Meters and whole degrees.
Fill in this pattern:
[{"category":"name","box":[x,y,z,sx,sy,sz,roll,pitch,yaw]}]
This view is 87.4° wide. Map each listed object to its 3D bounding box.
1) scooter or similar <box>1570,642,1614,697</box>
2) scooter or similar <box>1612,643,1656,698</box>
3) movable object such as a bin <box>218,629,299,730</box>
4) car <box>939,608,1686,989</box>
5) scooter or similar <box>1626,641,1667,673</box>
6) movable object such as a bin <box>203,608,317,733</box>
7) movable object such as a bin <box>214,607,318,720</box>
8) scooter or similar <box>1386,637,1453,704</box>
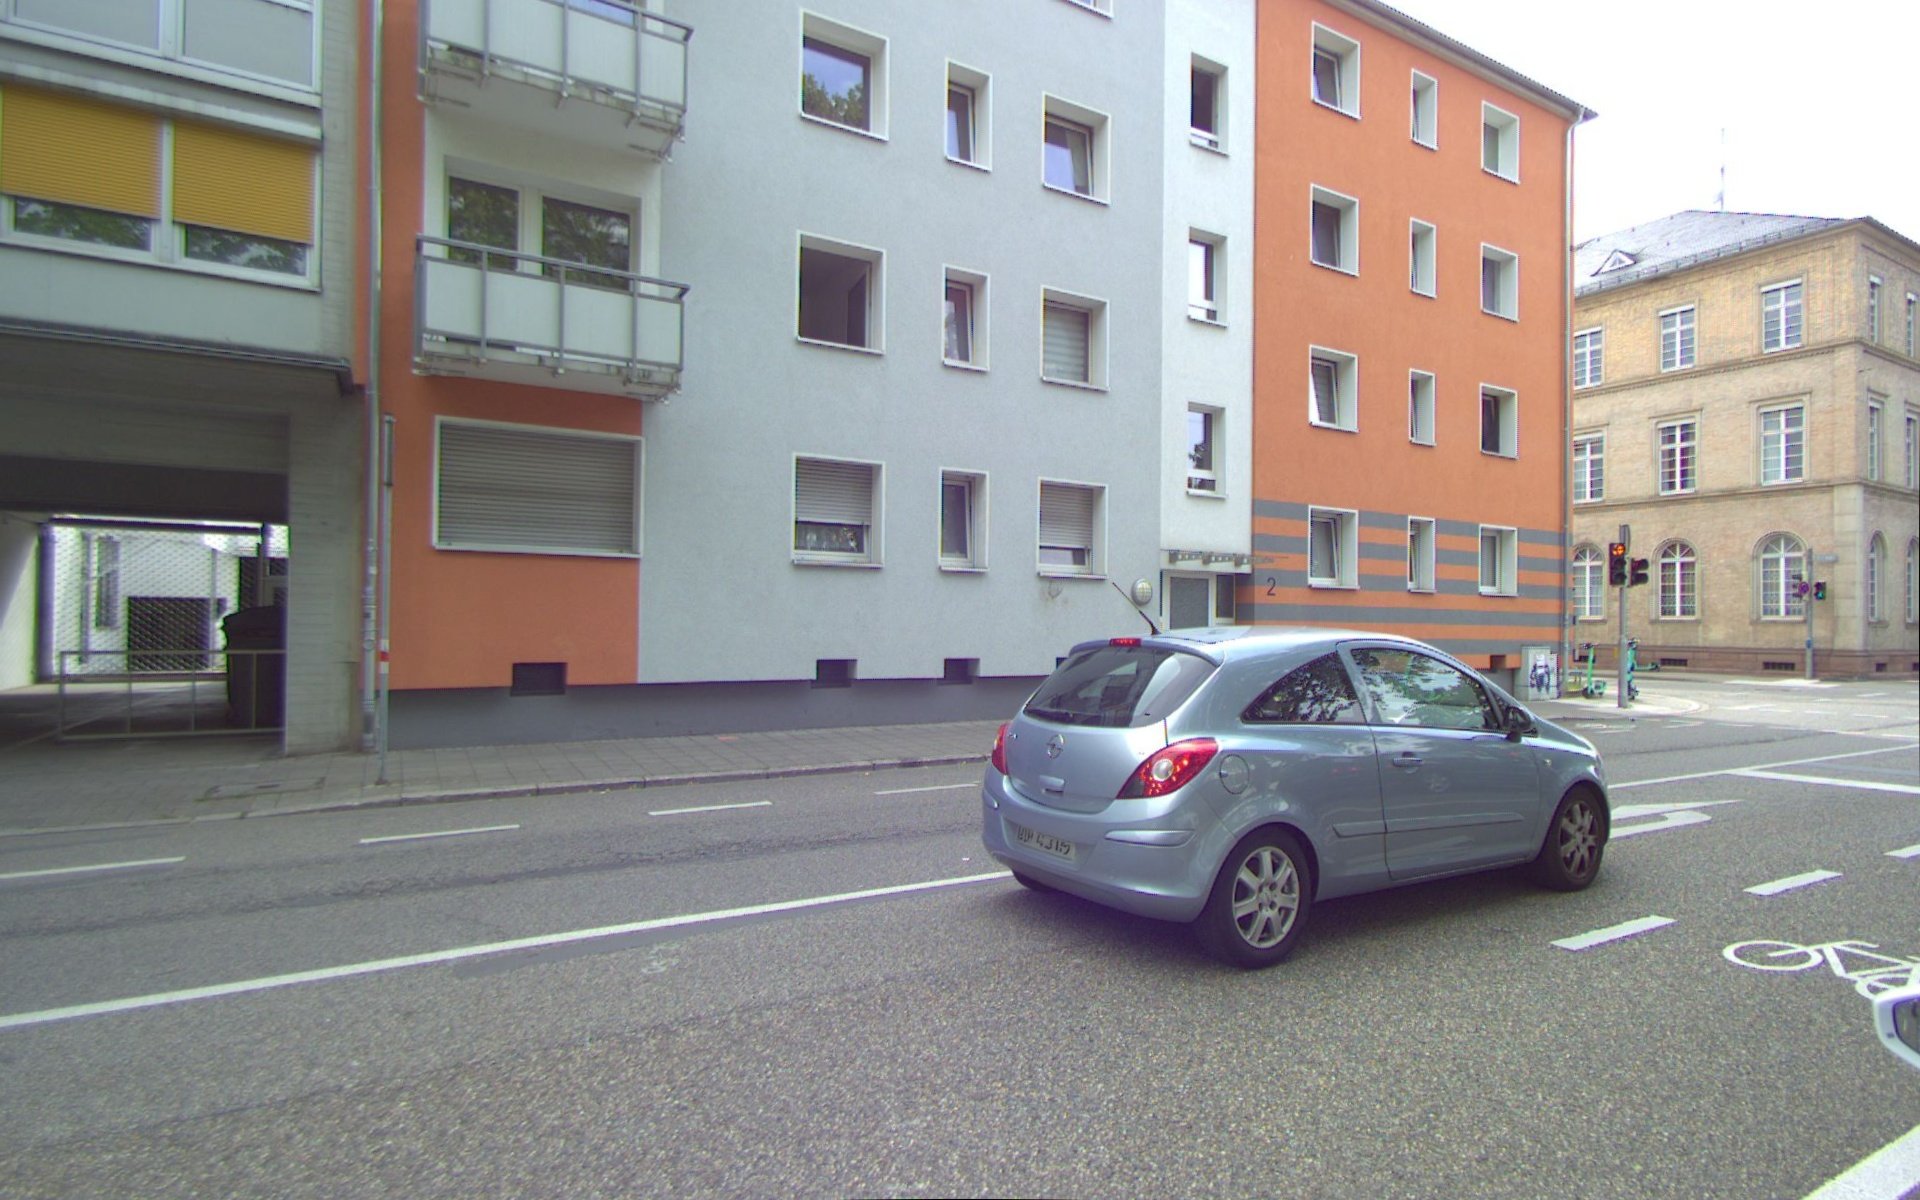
[{"category":"scooter or similar","box":[13.647,1.504,21.685,1.130,1.162,0.376,3,-2,-34]},{"category":"scooter or similar","box":[14.395,1.505,21.444,1.130,1.159,0.376,3,-2,-34]},{"category":"movable object such as a bin","box":[-8.292,0.923,11.903,0.701,1.140,0.639,1,-1,-29]},{"category":"car","box":[2.112,0.831,5.662,4.205,1.439,1.704,1,-3,-32]},{"category":"scooter or similar","box":[23.755,1.969,34.774,0.375,1.063,1.133,3,-2,-29]},{"category":"movable object such as a bin","box":[-8.809,0.850,12.707,1.040,1.483,1.185,1,-1,-29]},{"category":"movable object such as a bin","box":[-9.620,0.852,13.985,1.040,1.483,1.185,1,-1,-29]},{"category":"scooter or similar","box":[8.435,1.293,18.426,1.373,1.199,0.376,3,-2,-30]}]
